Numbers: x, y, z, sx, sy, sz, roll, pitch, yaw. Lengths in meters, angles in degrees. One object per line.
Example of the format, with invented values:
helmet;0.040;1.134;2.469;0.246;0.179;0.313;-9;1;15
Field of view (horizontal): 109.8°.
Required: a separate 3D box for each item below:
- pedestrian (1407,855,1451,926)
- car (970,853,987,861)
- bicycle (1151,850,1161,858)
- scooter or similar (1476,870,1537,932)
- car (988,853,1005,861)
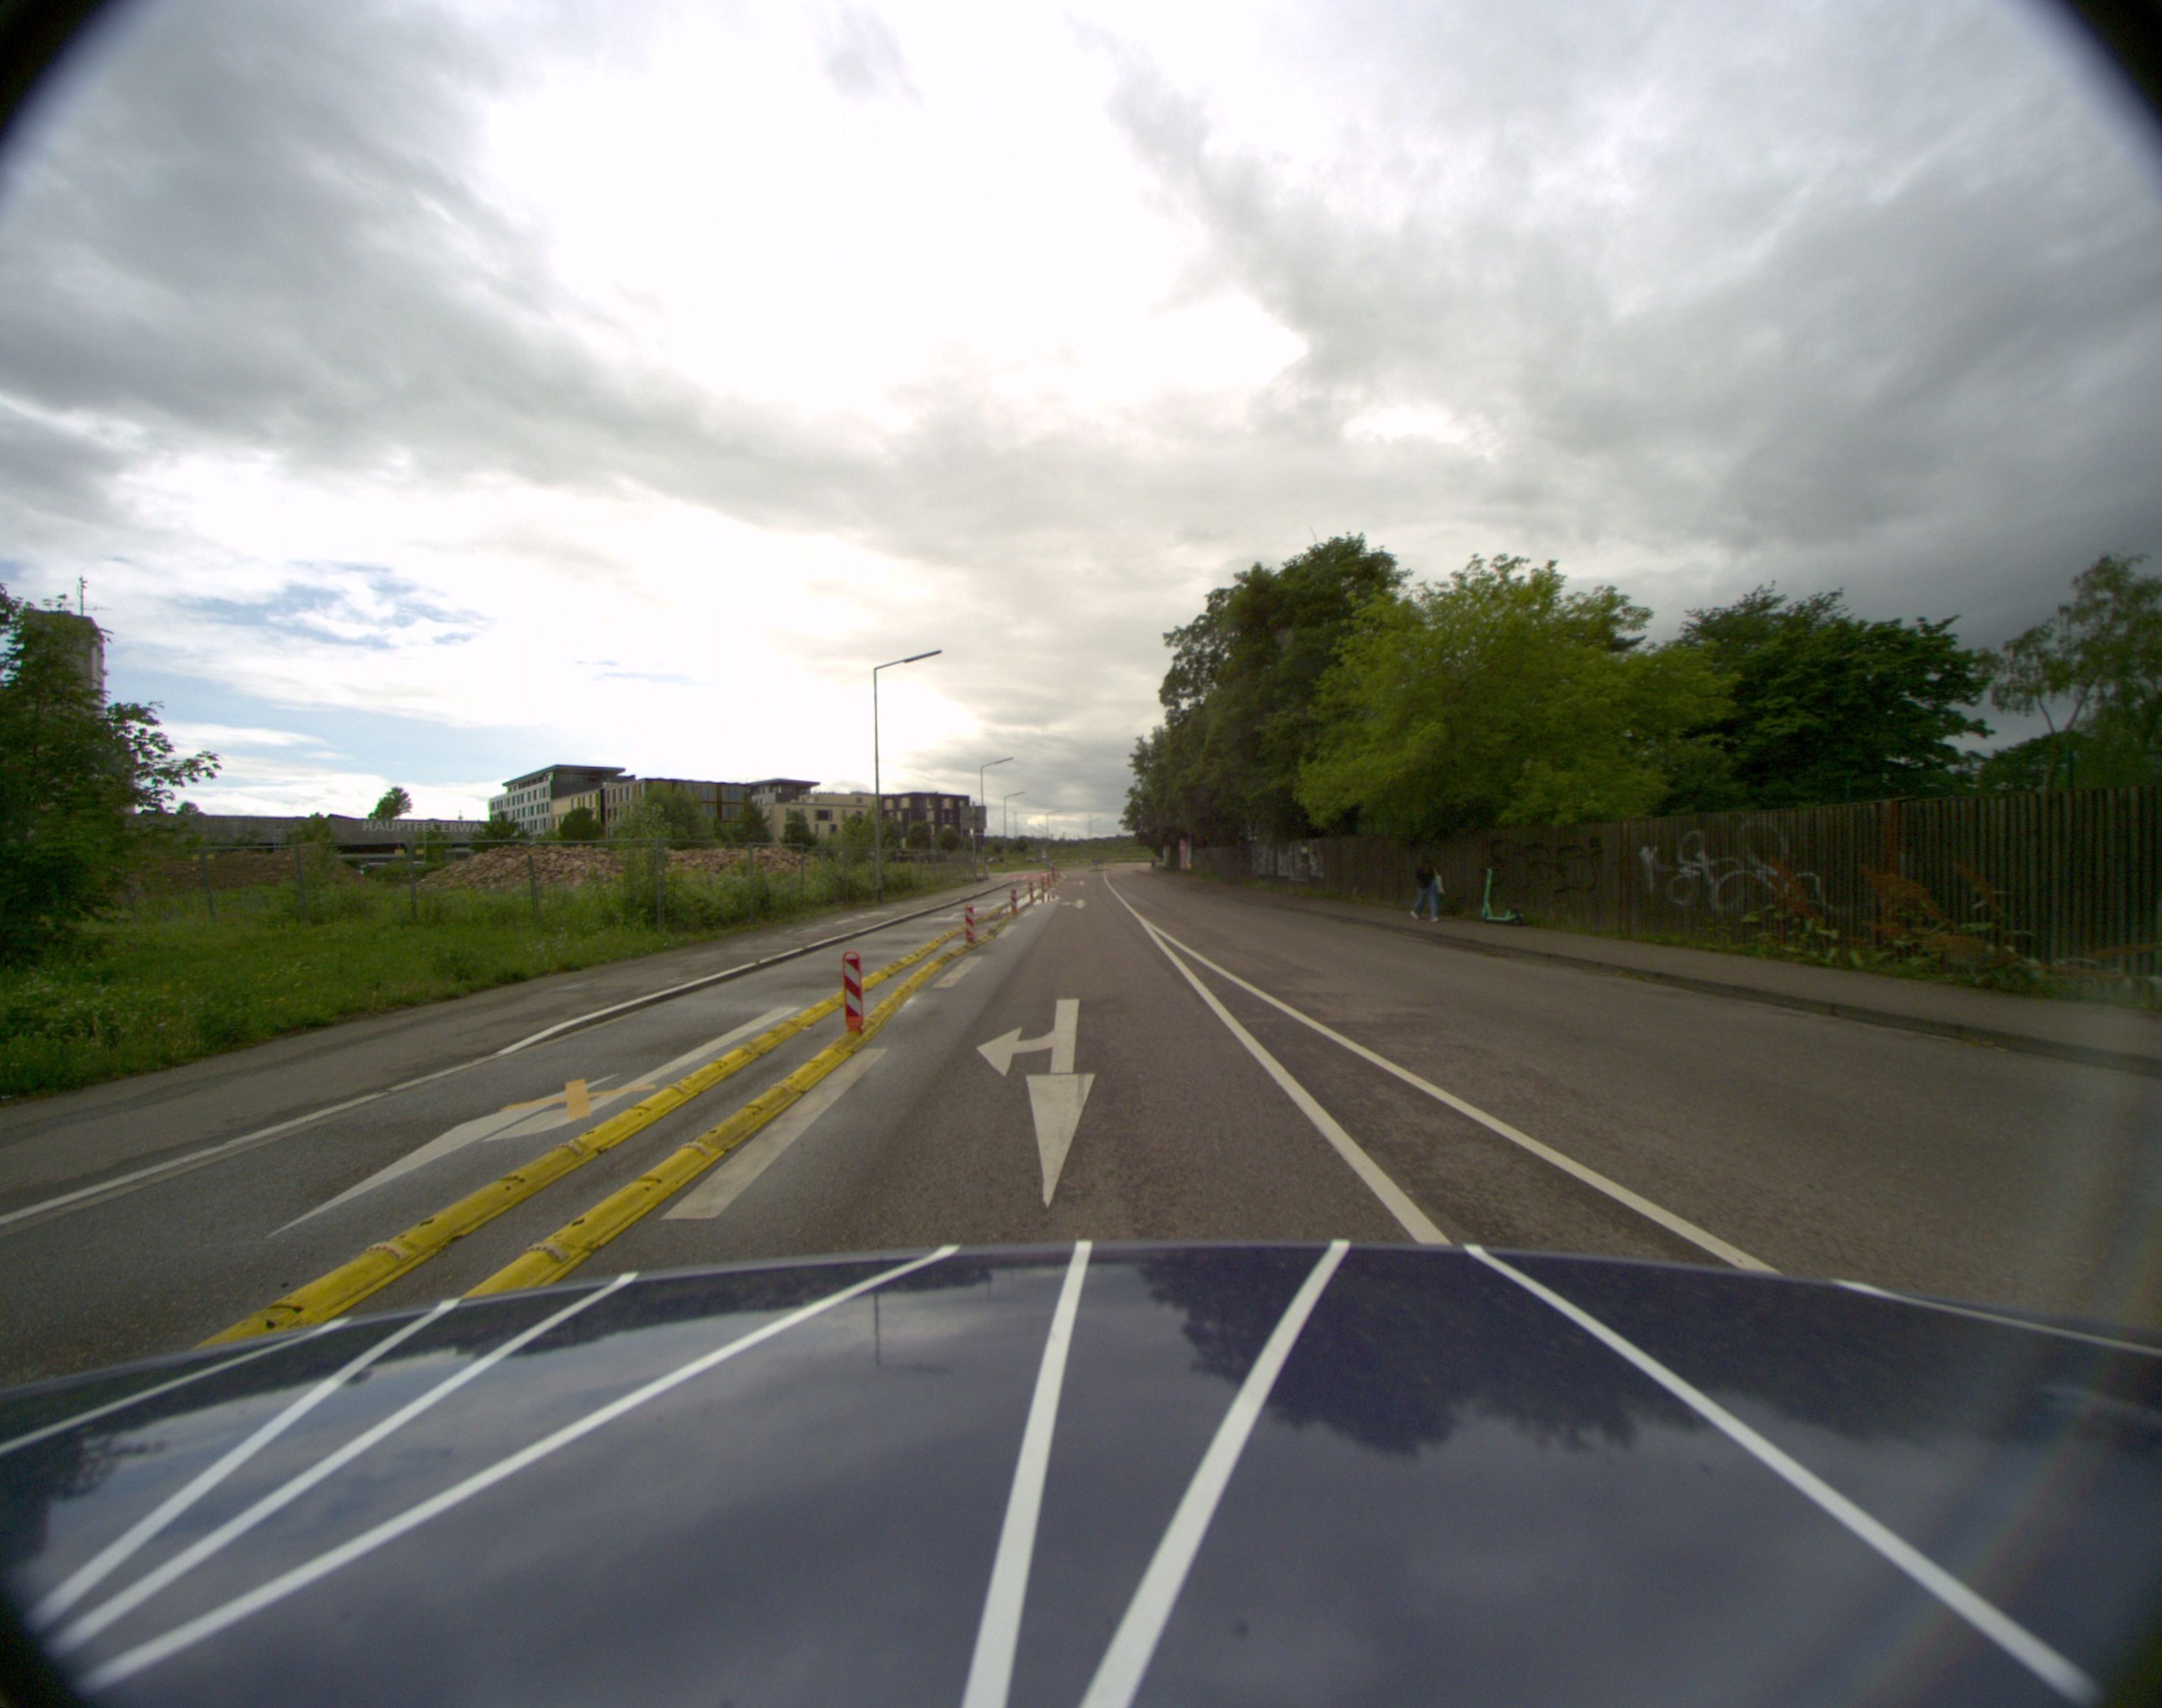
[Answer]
pedestrian;7.698;0.793;16.844;0.614;1.520;0.724;-1;1;-4
car;-26.264;0.682;195.296;1.994;2.002;4.008;0;0;42
bicycle;9.242;-0.003;93.212;0.582;0.992;1.773;-3;0;28
scooter or similar;8.620;0.932;15.453;0.424;1.164;1.303;-1;0;-5
car;-21.107;0.658;189.557;1.994;2.002;4.008;0;0;42
